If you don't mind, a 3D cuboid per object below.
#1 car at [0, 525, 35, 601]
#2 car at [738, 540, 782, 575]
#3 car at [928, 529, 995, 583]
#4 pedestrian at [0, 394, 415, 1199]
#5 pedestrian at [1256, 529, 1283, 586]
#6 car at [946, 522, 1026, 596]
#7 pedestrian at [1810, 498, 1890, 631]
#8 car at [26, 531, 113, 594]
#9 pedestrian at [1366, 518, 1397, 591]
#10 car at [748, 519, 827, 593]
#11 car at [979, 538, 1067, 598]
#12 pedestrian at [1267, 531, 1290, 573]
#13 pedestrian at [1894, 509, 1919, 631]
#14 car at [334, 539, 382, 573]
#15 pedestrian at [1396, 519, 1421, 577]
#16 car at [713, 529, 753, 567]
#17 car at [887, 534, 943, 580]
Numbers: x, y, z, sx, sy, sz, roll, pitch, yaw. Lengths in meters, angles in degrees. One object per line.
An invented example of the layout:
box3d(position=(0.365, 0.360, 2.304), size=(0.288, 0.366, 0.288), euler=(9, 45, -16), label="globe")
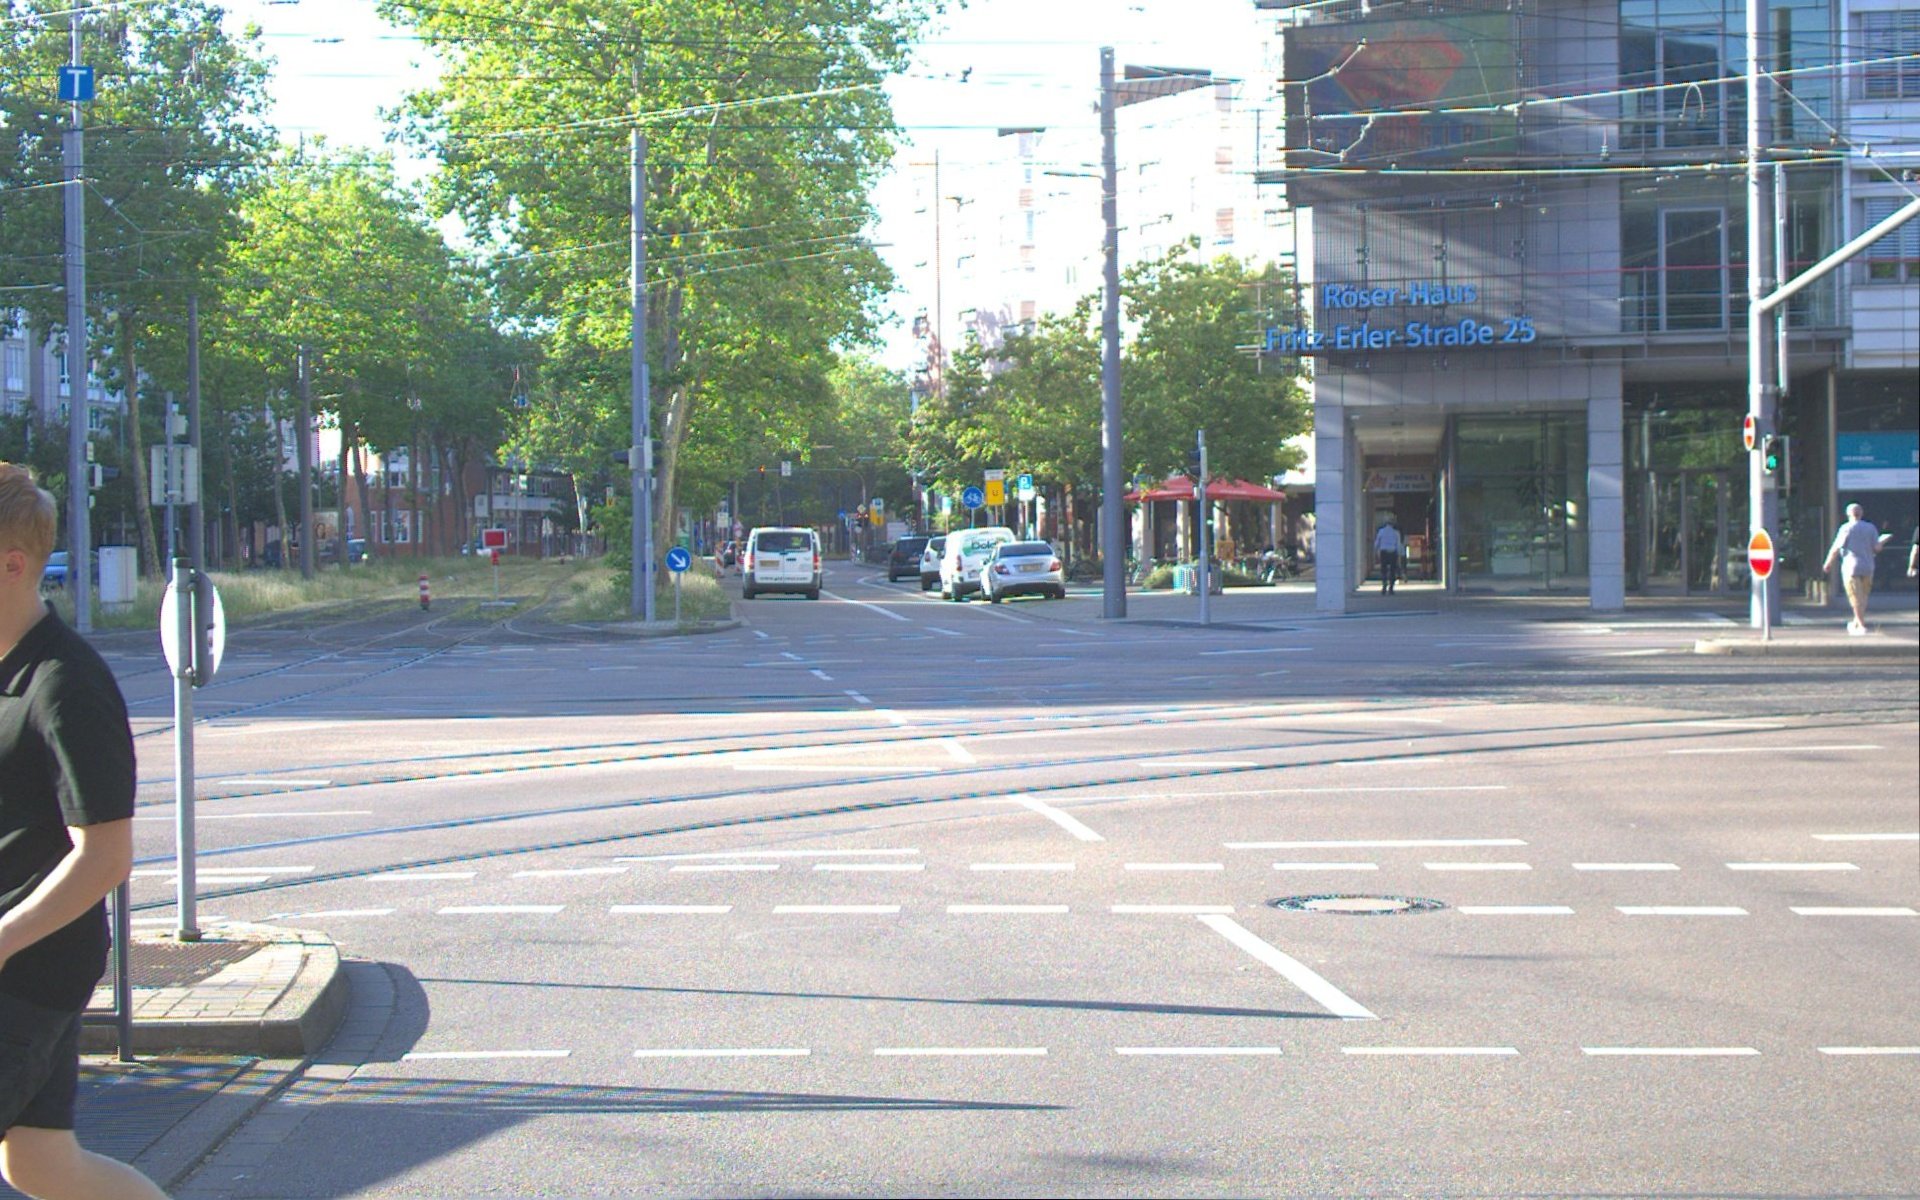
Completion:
box3d(position=(-21.665, -0.799, 74.916), size=(1.993, 1.634, 4.000), euler=(-1, 1, -1), label="car")
box3d(position=(-8.524, -1.819, 146.874), size=(1.797, 1.437, 4.000), euler=(1, 1, -2), label="car")
box3d(position=(0.037, -1.356, 105.208), size=(1.993, 1.612, 4.000), euler=(-1, 1, 0), label="car")
box3d(position=(-1.572, 0.538, 5.841), size=(1.089, 1.742, 0.743), euler=(0, 1, -29), label="pedestrian")
box3d(position=(9.442, -1.294, 104.982), size=(0.744, 1.708, 0.612), euler=(-1, 1, -1), label="pedestrian")
box3d(position=(0.649, -1.093, 89.563), size=(1.993, 1.853, 4.000), euler=(-1, 1, -1), label="car")
box3d(position=(12.078, -0.488, 46.684), size=(0.863, 1.782, 0.871), euler=(-1, 1, 3), label="pedestrian")
box3d(position=(-29.369, -1.256, 113.468), size=(1.993, 2.007, 4.001), euler=(-1, 1, -3), label="car")
box3d(position=(8.756, -0.943, 71.424), size=(0.612, 1.502, 0.579), euler=(-1, 1, 7), label="pedestrian")
box3d(position=(-4.482, -1.158, 89.413), size=(1.960, 1.842, 5.331), euler=(-1, 1, -3), label="car")
box3d(position=(1.493, -0.784, 82.768), size=(1.993, 1.371, 4.000), euler=(-1, 1, -1), label="car")
box3d(position=(9.869, -1.502, 106.576), size=(0.577, 1.284, 0.910), euler=(-1, 1, -1), label="pedestrian")
box3d(position=(13.474, -0.425, 47.556), size=(0.912, 1.679, 1.035), euler=(-1, 1, 7), label="pedestrian")
box3d(position=(-33.712, -2.479, 192.490), size=(1.993, 1.809, 4.000), euler=(-1, 1, -1), label="car")
box3d(position=(11.807, -1.369, 90.506), size=(0.612, 1.502, 0.579), euler=(-1, 1, 7), label="pedestrian")
box3d(position=(-12.462, -2.866, 188.839), size=(1.993, 2.007, 4.000), euler=(-1, 1, -1), label="car")
box3d(position=(-1.641, -1.594, 126.659), size=(1.993, 1.612, 4.000), euler=(-1, 1, 0), label="car")
